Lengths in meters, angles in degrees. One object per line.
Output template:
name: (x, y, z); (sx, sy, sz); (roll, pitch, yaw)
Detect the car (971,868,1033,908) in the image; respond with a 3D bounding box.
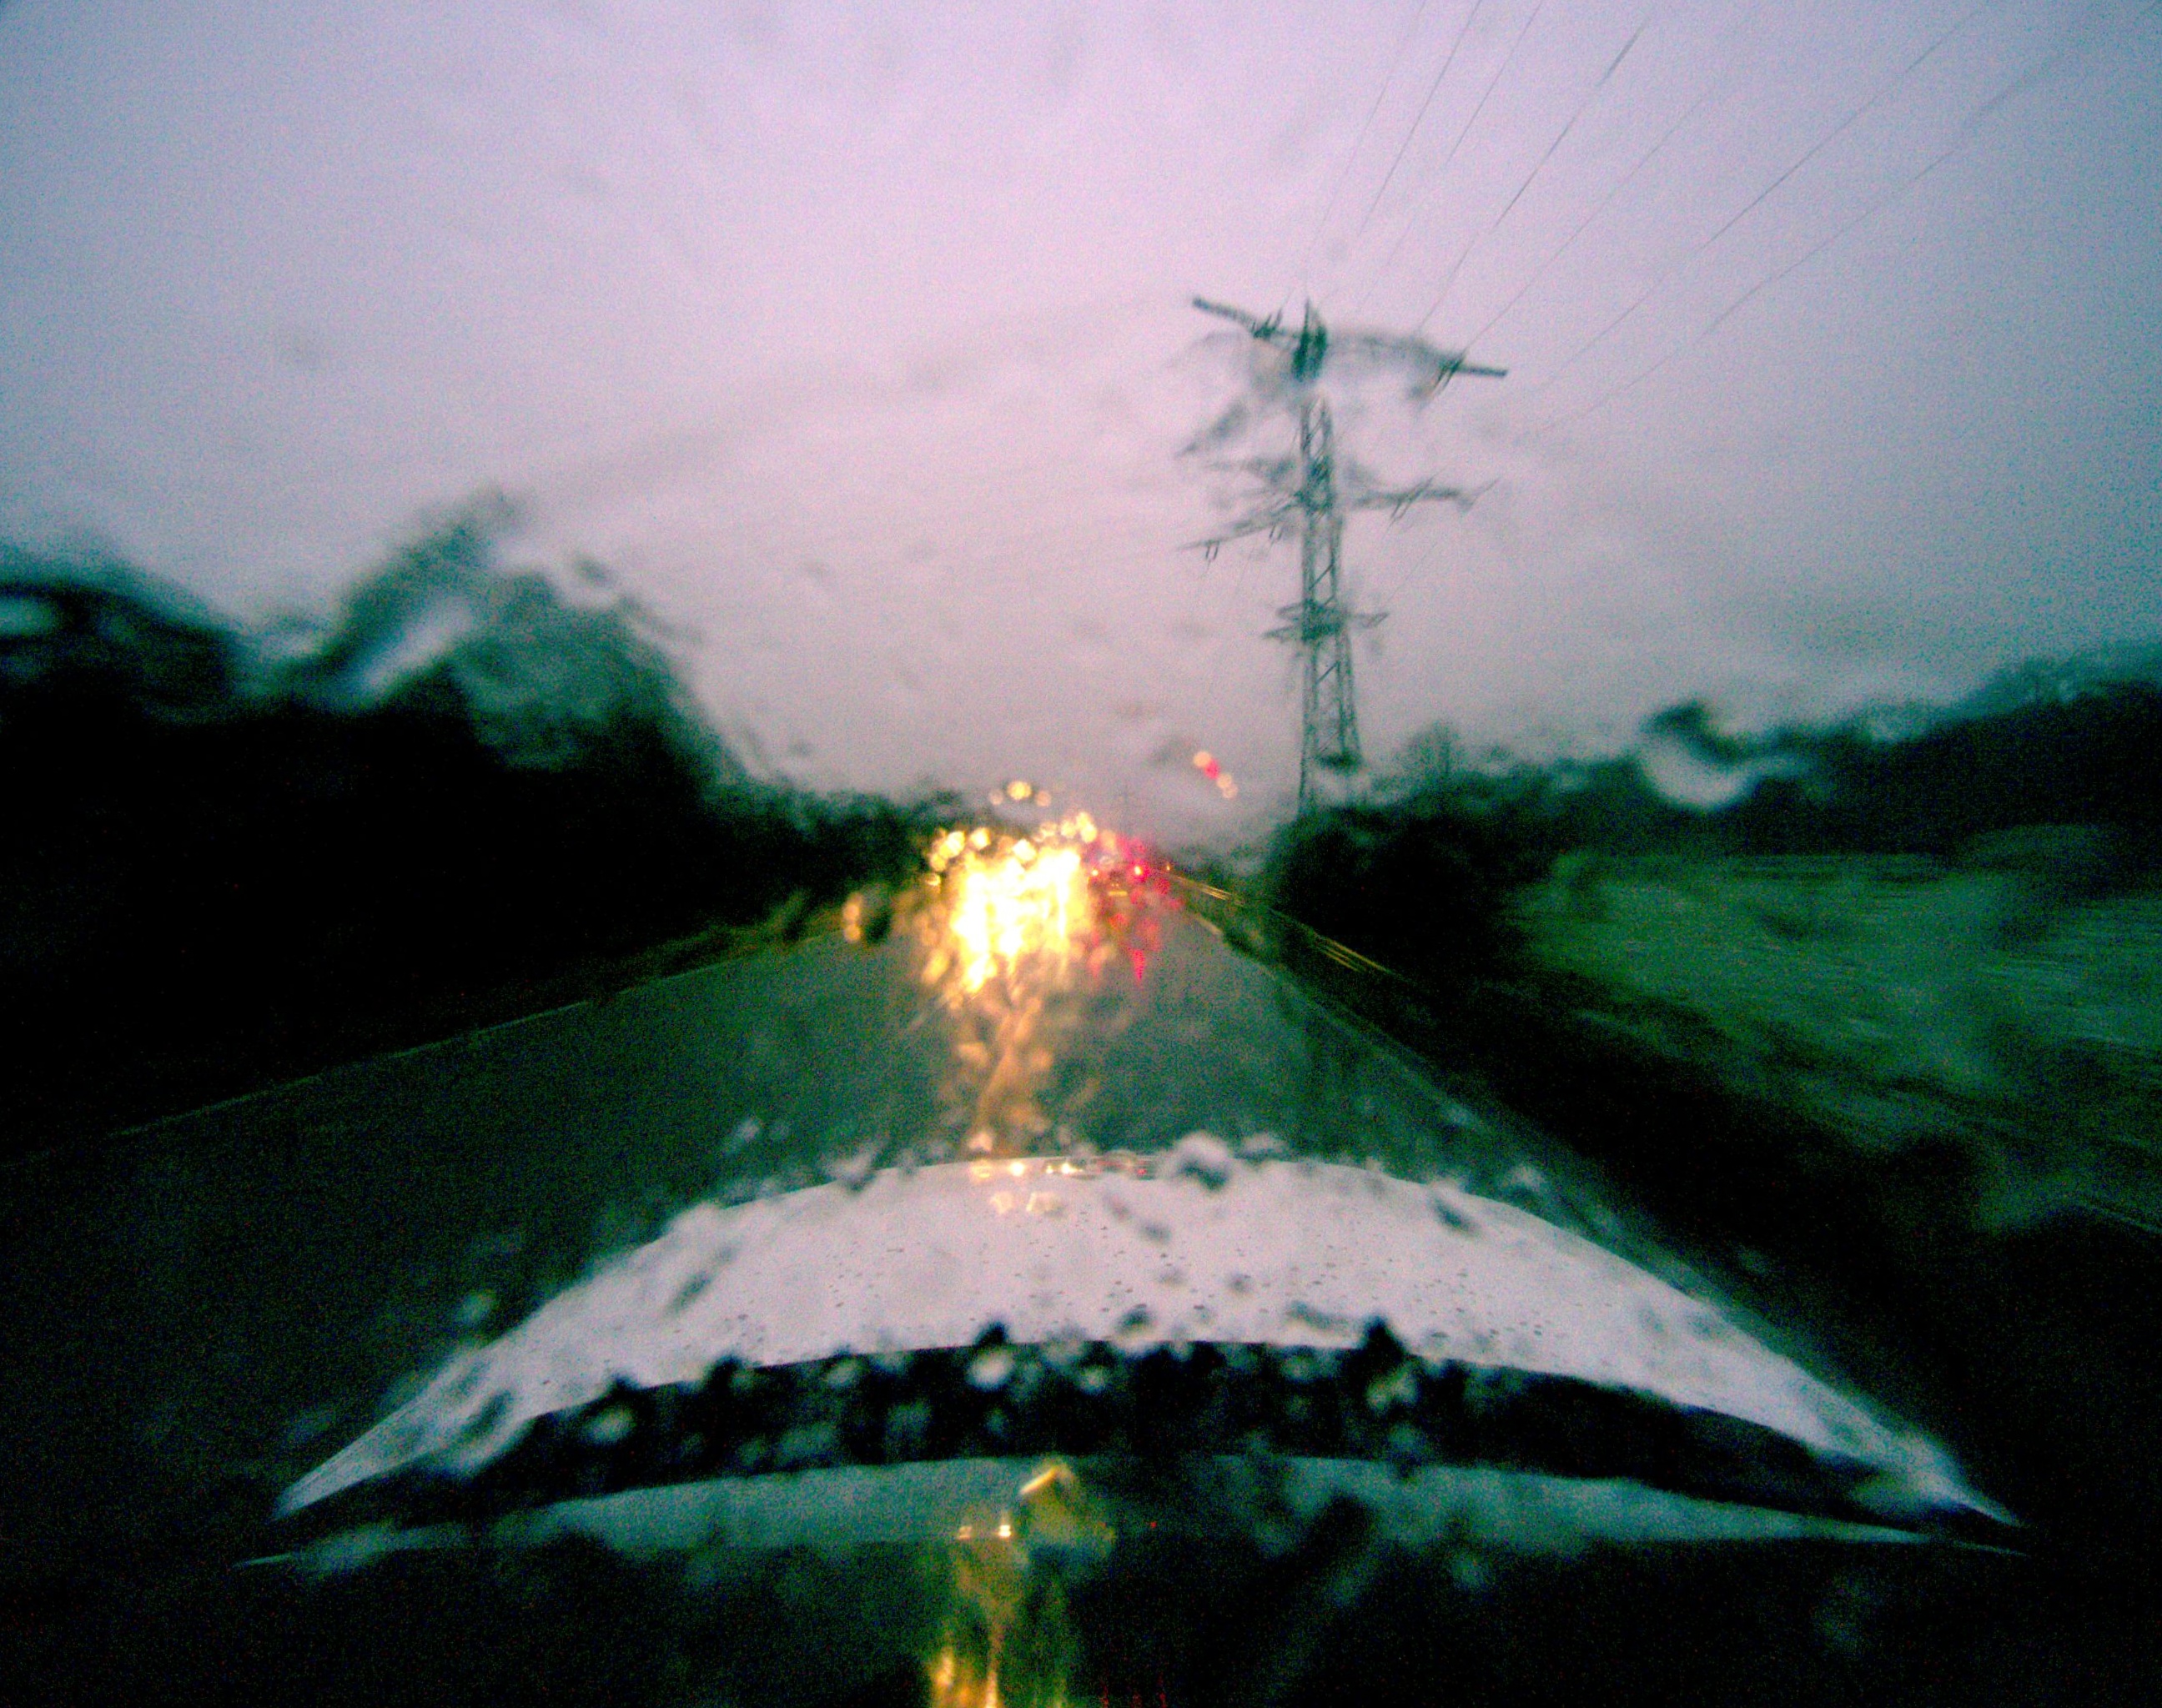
car: (-2.899, 1.245, 30.748); (1.821, 1.409, 4.001); (0, -2, 2)

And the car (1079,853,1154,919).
car: (1.031, 0.874, 24.180); (1.986, 1.752, 4.001); (-1, 0, 2)

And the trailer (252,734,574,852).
trailer: (-25.098, -1.969, 31.963); (2.987, 3.634, 11.389); (-1, -1, 1)

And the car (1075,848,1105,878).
car: (0.696, 0.632, 58.378); (1.986, 2.014, 4.002); (-2, 0, 2)

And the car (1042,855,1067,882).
car: (-2.122, 1.216, 66.406); (1.821, 2.119, 4.001); (0, -2, 2)
